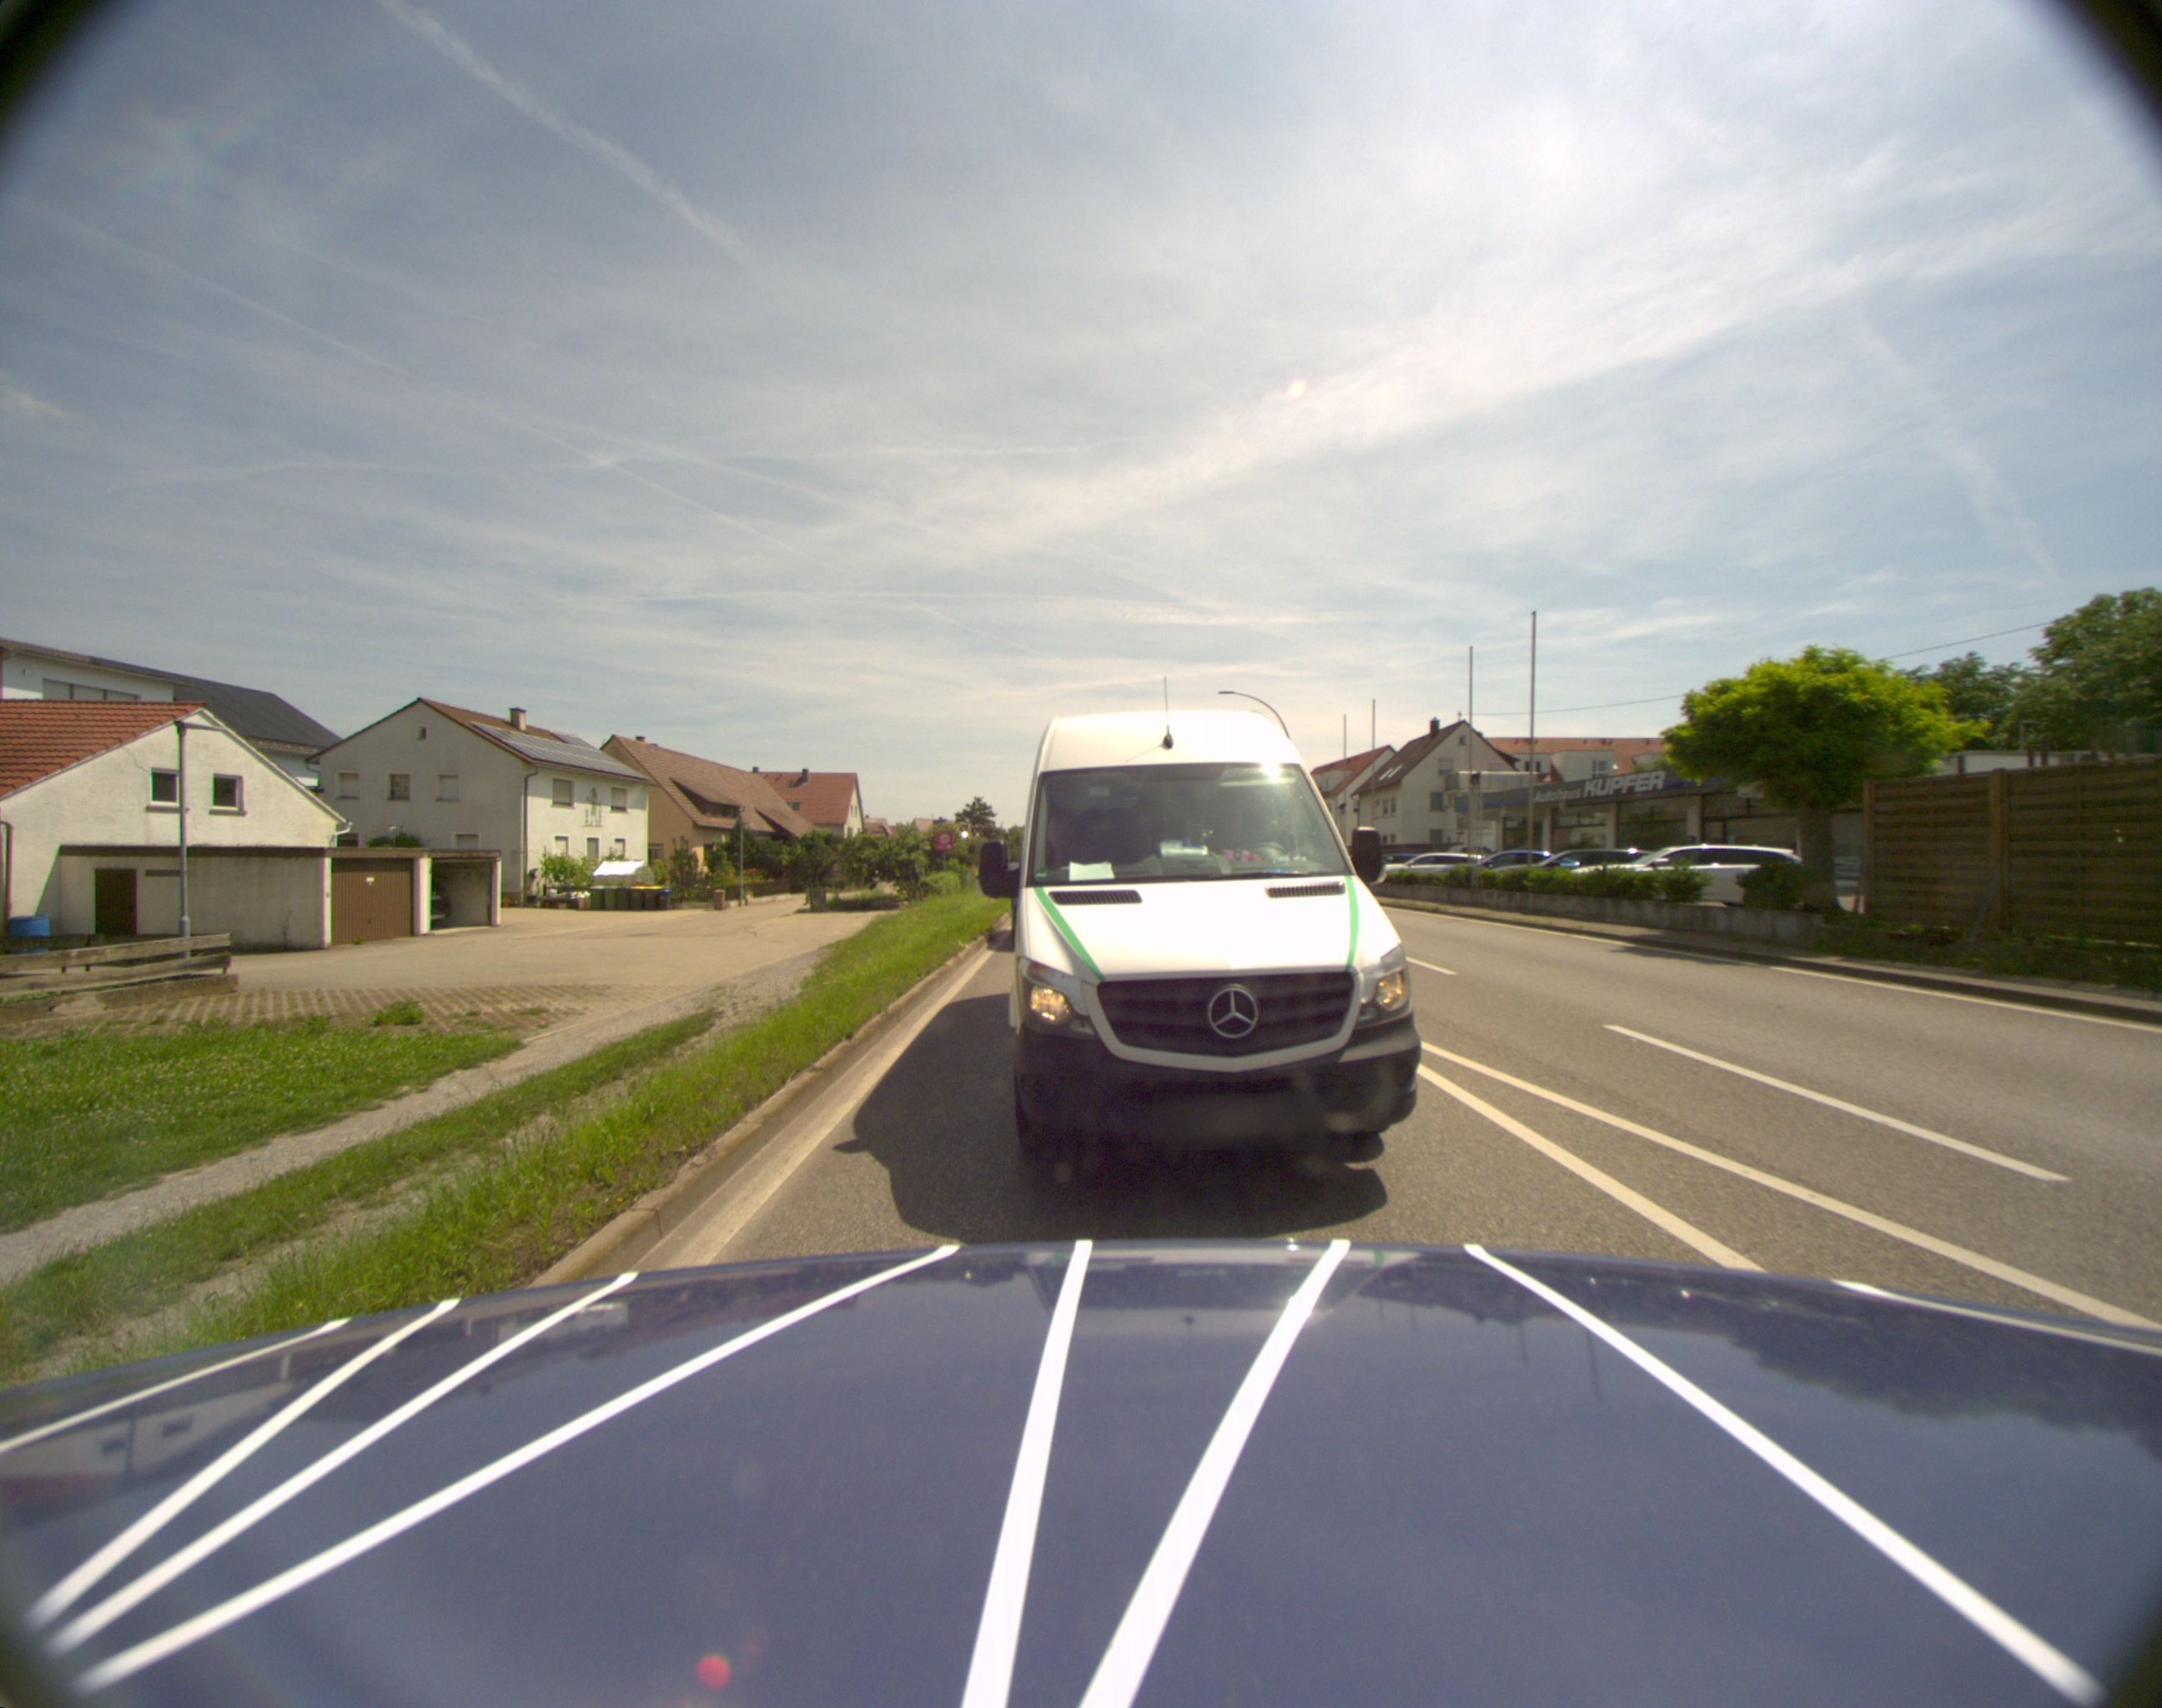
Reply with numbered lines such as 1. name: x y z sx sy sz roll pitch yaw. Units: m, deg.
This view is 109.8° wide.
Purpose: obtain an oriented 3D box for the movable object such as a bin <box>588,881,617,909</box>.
1. movable object such as a bin: -22.058 1.872 35.038 0.745 1.239 0.889 -2 0 -1

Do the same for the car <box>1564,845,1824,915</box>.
1. car: 13.884 0.584 17.575 4.329 1.451 1.858 -1 0 24

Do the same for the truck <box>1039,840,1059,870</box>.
1. truck: -4.148 0.137 99.736 2.506 3.847 5.497 -2 0 -1

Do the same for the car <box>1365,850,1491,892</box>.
1. car: 13.513 0.674 29.660 4.303 1.510 2.003 -2 0 27

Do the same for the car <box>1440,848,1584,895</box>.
1. car: 14.133 0.573 25.209 3.990 1.433 1.857 -2 0 25

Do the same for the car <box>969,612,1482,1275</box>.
1. car: 0.550 0.368 5.850 1.978 2.583 5.633 -2 0 -1

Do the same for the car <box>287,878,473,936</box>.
1. car: -21.525 1.605 23.450 3.997 1.594 1.826 -1 0 0

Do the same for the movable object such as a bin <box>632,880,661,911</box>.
1. movable object such as a bin: -19.834 1.882 34.712 0.765 1.362 0.946 -2 0 -1

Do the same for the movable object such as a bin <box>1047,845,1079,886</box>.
1. movable object such as a bin: -1.238 0.786 54.173 1.998 2.710 5.419 -1 0 1

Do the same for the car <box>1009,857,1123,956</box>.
1. car: -0.275 0.864 14.327 1.824 1.574 3.901 -1 0 -1

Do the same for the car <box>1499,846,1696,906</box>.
1. car: 14.247 0.626 21.285 4.251 1.536 1.853 -2 0 23

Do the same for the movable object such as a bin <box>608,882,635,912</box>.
1. movable object such as a bin: -21.174 1.962 35.010 0.678 1.330 0.820 -2 0 -1

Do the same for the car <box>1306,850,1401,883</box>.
1. car: 13.600 0.624 37.921 4.255 1.521 2.003 -2 0 26

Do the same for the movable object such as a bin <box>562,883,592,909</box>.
1. movable object such as a bin: -23.024 1.905 34.724 0.740 1.149 0.830 -2 0 -1

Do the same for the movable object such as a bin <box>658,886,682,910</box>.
1. movable object such as a bin: -18.826 2.015 34.805 0.645 1.021 0.756 -2 0 -1

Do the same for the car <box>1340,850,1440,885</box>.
1. car: 13.782 0.602 33.877 3.990 1.455 2.003 -2 0 26
